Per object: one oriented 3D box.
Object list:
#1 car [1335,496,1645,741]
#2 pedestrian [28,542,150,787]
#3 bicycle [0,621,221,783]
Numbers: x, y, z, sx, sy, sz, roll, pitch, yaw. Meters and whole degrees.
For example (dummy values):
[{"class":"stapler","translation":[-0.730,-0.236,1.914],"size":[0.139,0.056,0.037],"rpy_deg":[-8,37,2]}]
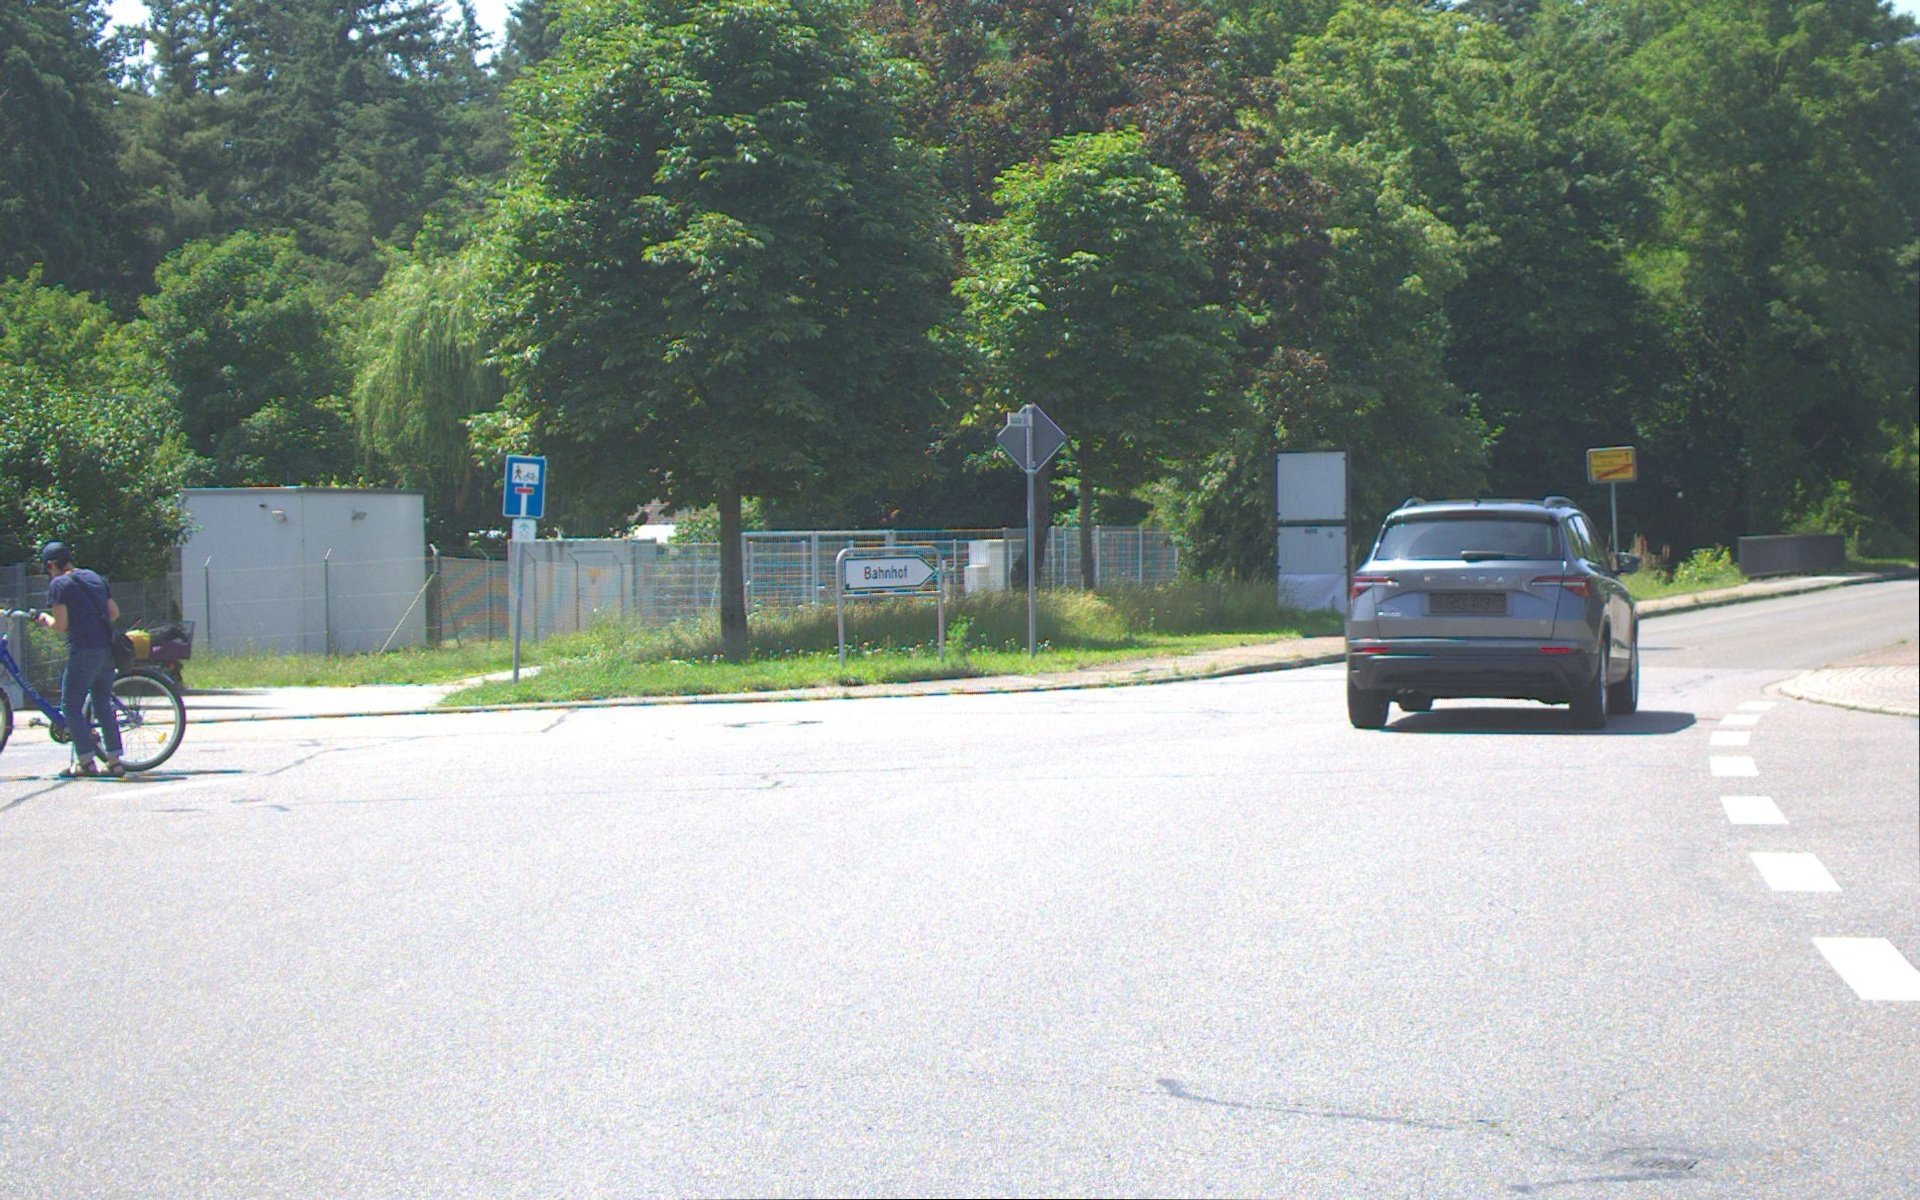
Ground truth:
[{"class":"car","translation":[3.929,0.077,24.988],"size":[1.763,1.612,3.997],"rpy_deg":[1,1,15]},{"class":"pedestrian","translation":[-5.432,0.390,21.431],"size":[0.610,1.495,0.504],"rpy_deg":[-1,1,-28]},{"class":"bicycle","translation":[-5.673,0.646,21.850],"size":[1.842,0.960,0.443],"rpy_deg":[-2,2,-28]}]
